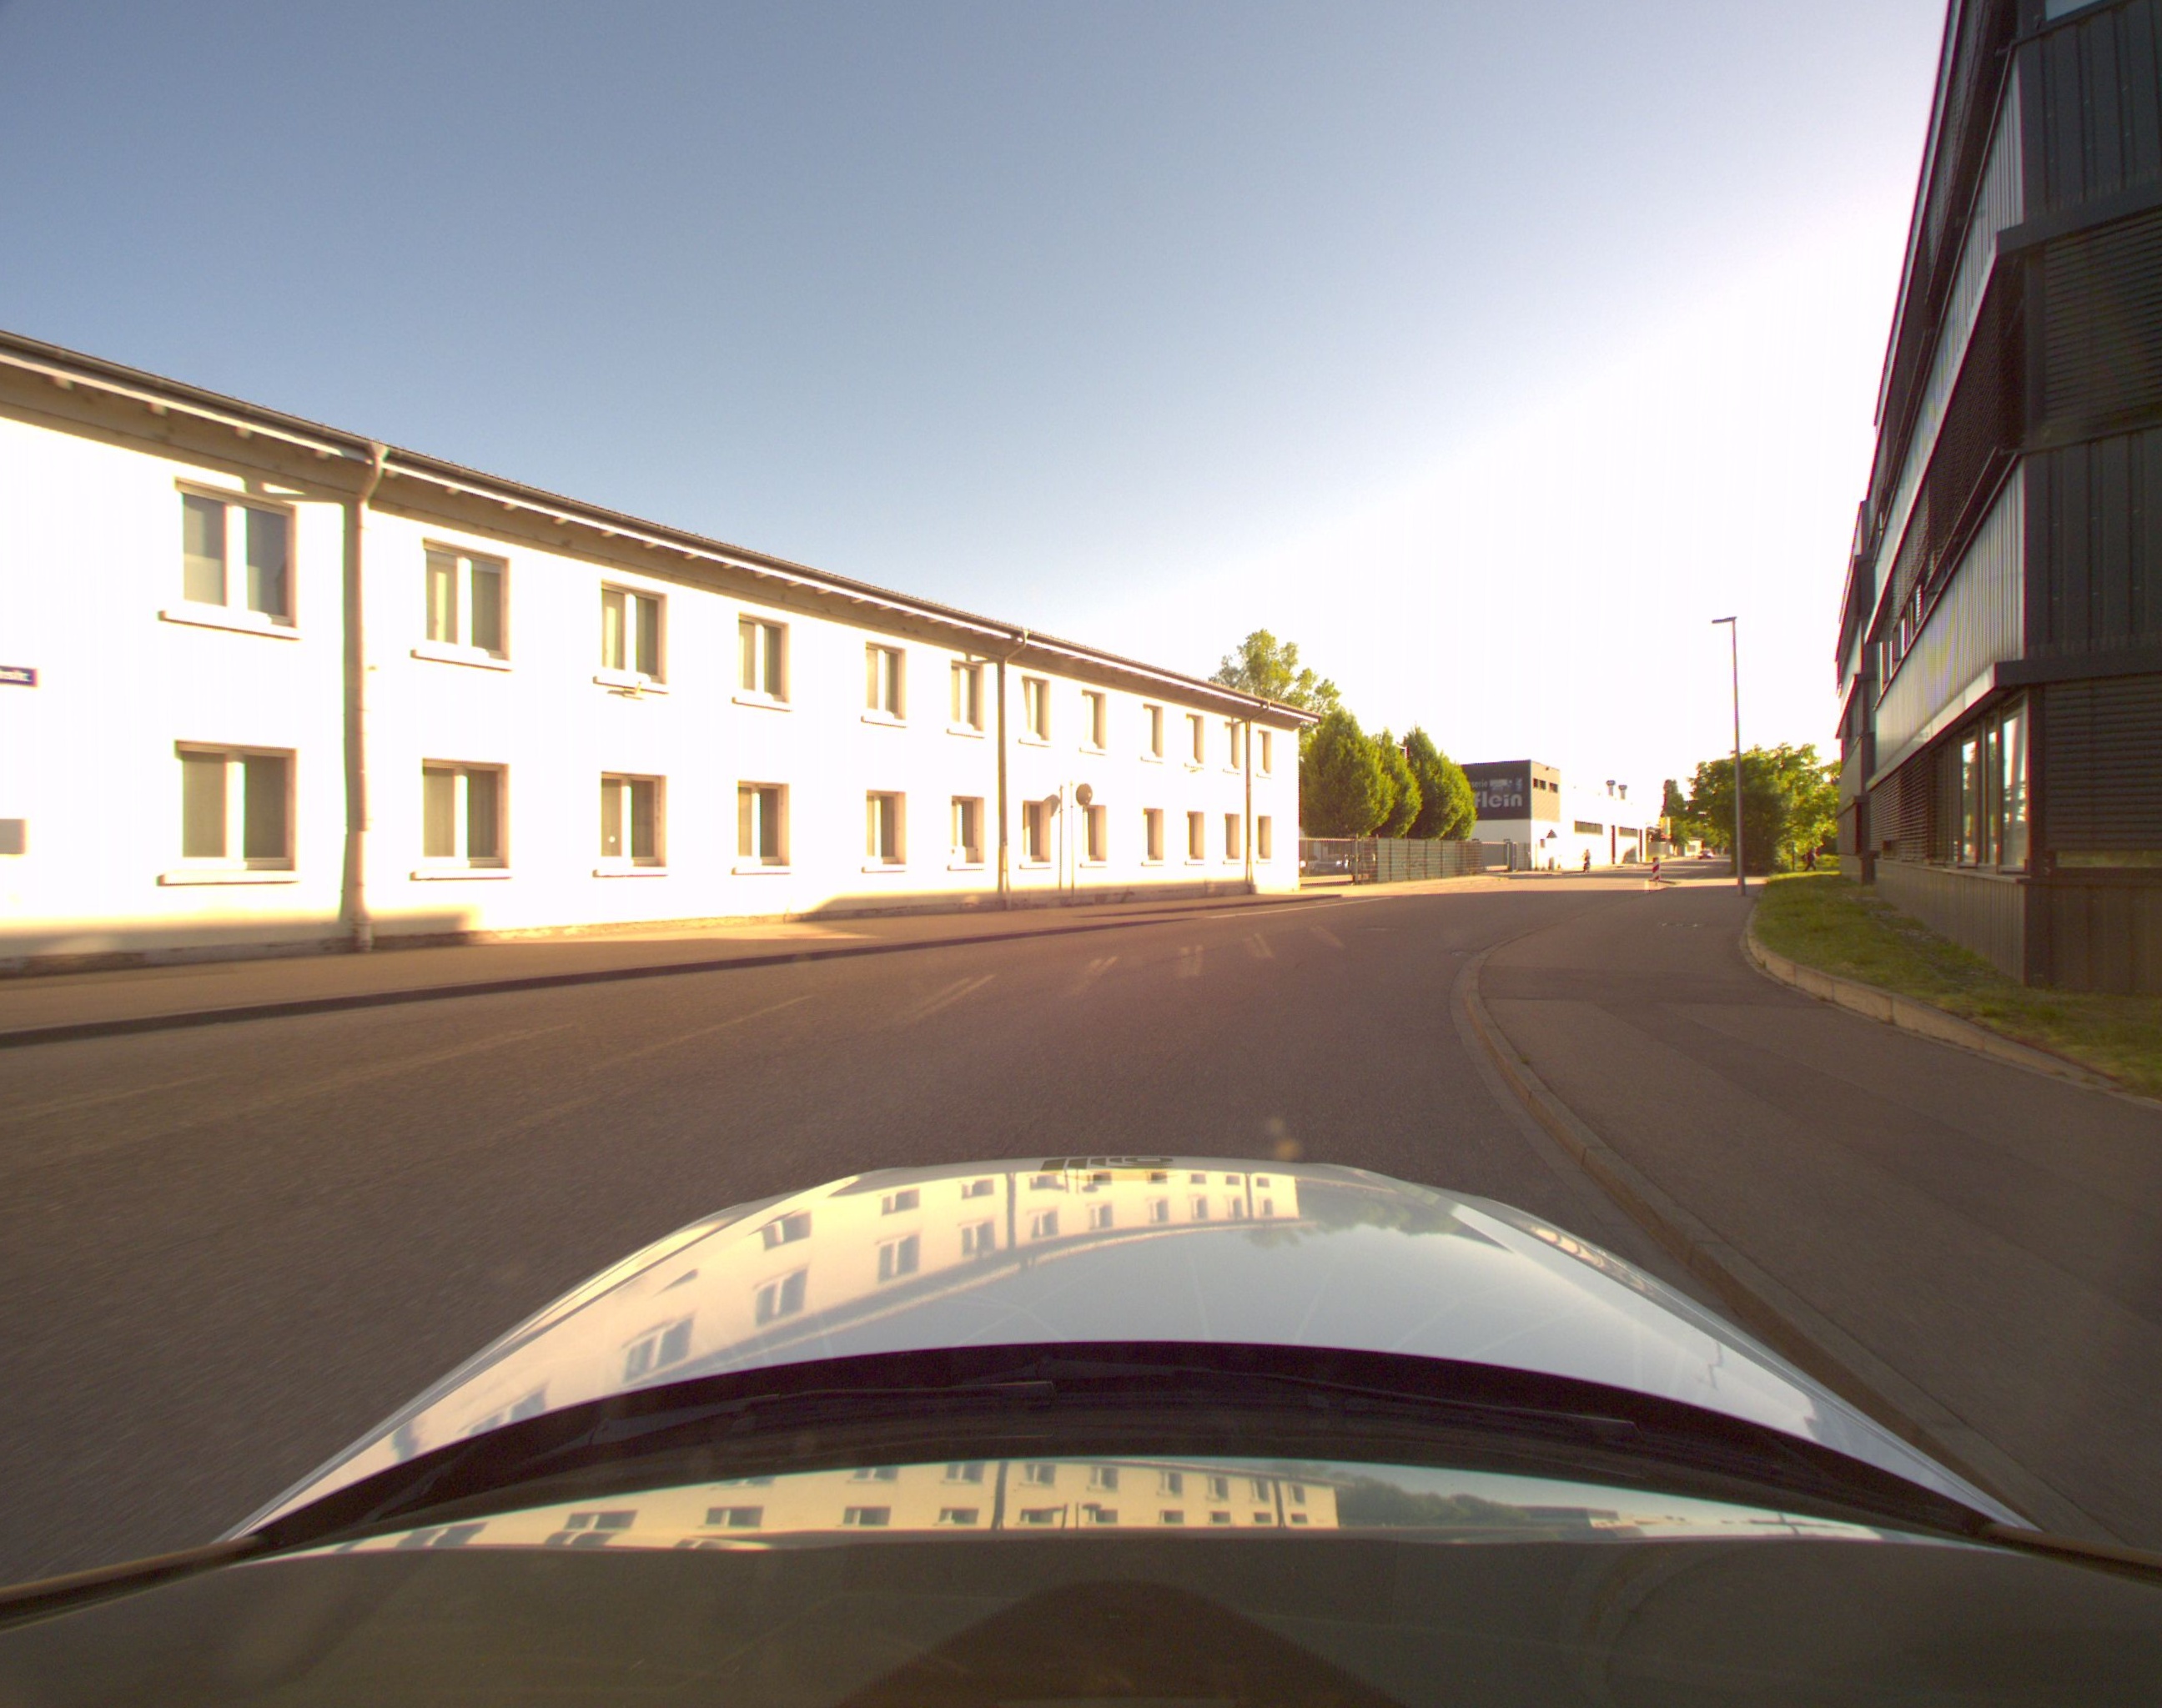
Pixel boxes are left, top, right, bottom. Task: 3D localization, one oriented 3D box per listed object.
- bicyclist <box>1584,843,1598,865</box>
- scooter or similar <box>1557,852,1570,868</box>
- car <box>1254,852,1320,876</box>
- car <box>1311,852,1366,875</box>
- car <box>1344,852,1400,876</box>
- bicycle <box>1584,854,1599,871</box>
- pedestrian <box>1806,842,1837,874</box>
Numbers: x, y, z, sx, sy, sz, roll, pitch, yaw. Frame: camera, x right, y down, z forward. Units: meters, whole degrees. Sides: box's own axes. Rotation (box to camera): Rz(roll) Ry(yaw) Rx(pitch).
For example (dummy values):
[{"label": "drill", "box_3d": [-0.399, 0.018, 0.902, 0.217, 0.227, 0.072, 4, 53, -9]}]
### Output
[{"label": "bicyclist", "box_3d": [38.248, 0.007, 61.051, 0.739, 1.628, 0.839, -1, 0, 40]}, {"label": "scooter or similar", "box_3d": [38.861, 0.477, 65.579, 0.502, 1.203, 1.764, 4, 2, 41]}, {"label": "car", "box_3d": [14.174, 0.680, 56.182, 3.949, 1.540, 1.887, -2, -1, 42]}, {"label": "car", "box_3d": [16.902, 0.567, 53.378, 1.975, 1.451, 4.024, 0, 0, 42]}, {"label": "car", "box_3d": [18.527, 0.581, 51.726, 1.975, 1.451, 4.024, 0, 0, 42]}, {"label": "bicycle", "box_3d": [38.244, 0.619, 61.054, 0.661, 1.288, 2.186, -1, 0, 40]}, {"label": "pedestrian", "box_3d": [43.170, 0.240, 47.482, 1.141, 1.792, 0.902, -4, -2, 37]}]
